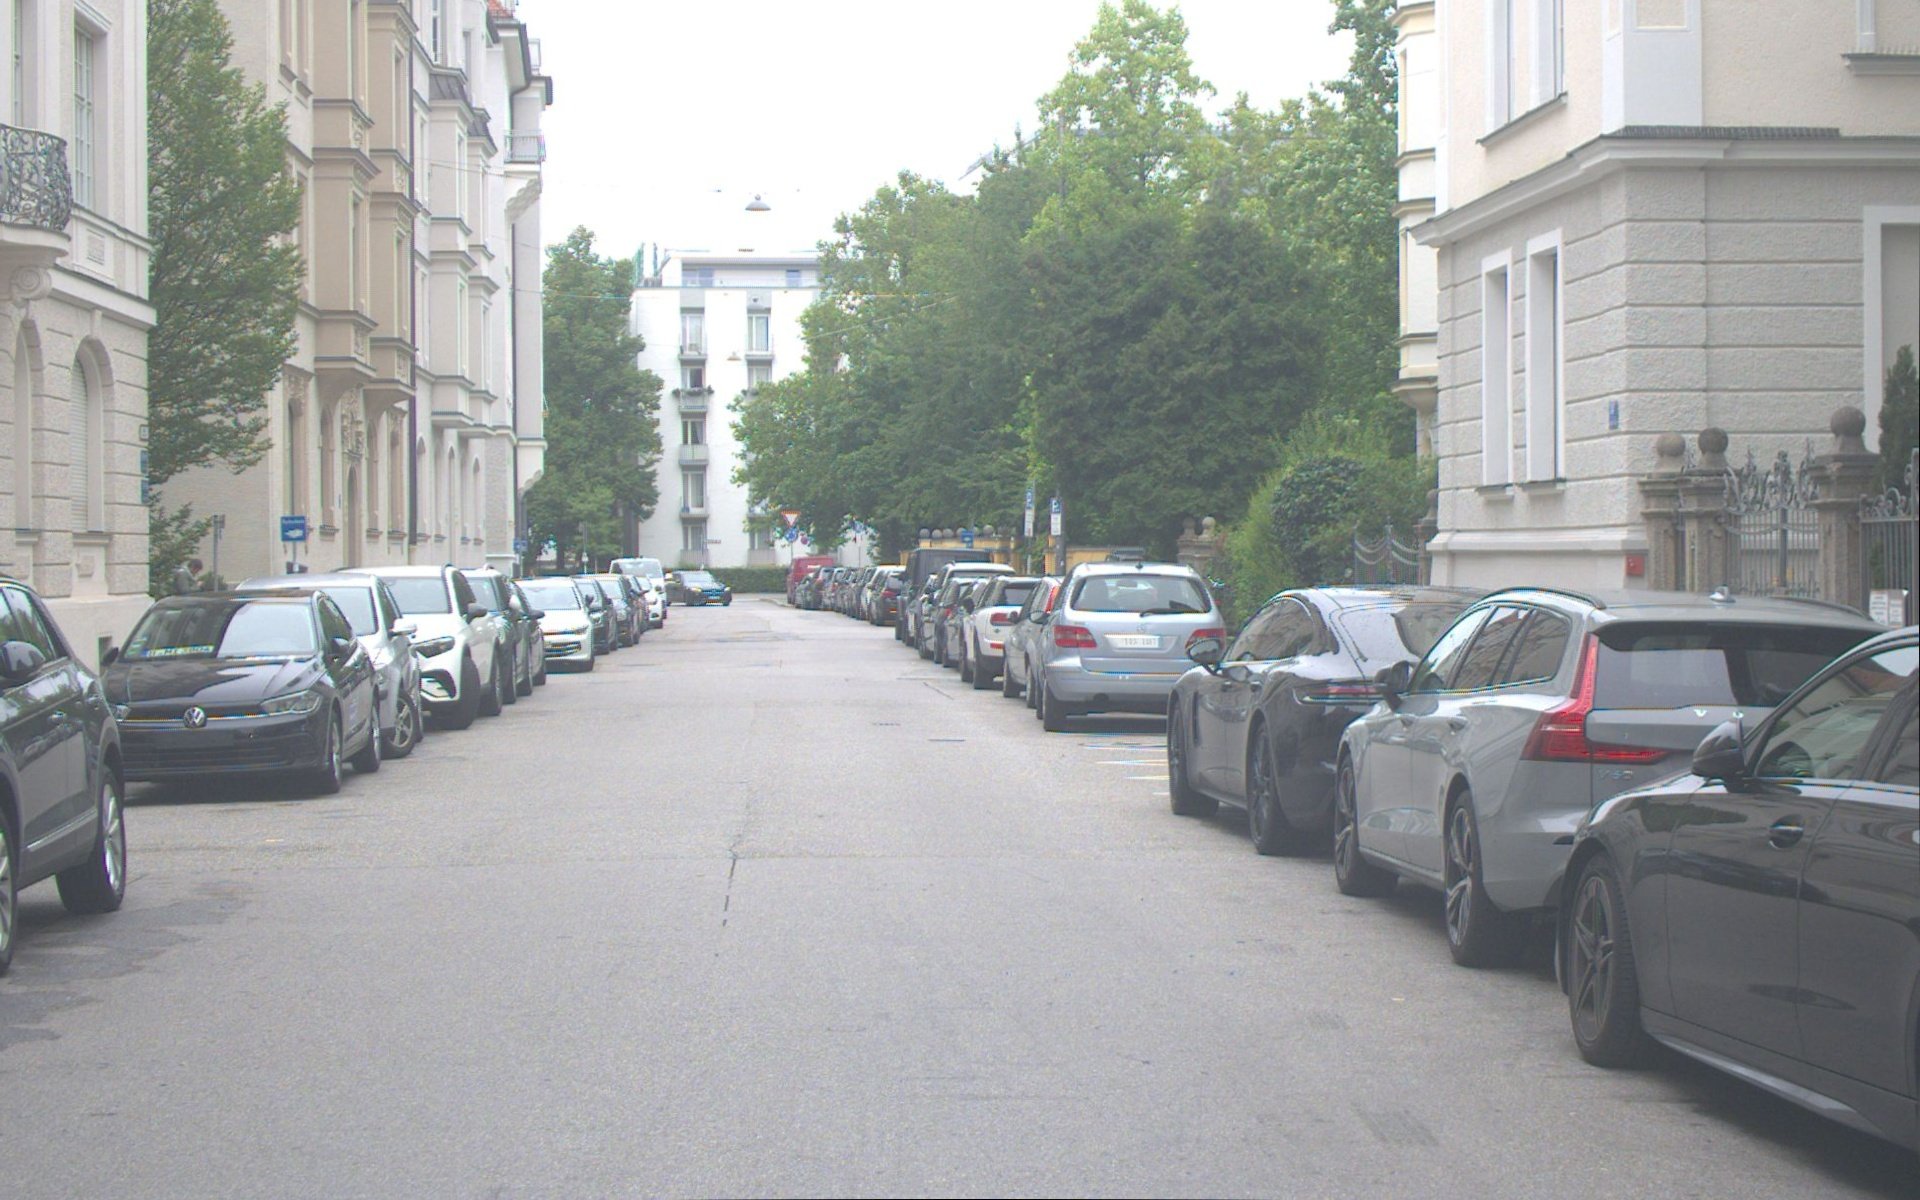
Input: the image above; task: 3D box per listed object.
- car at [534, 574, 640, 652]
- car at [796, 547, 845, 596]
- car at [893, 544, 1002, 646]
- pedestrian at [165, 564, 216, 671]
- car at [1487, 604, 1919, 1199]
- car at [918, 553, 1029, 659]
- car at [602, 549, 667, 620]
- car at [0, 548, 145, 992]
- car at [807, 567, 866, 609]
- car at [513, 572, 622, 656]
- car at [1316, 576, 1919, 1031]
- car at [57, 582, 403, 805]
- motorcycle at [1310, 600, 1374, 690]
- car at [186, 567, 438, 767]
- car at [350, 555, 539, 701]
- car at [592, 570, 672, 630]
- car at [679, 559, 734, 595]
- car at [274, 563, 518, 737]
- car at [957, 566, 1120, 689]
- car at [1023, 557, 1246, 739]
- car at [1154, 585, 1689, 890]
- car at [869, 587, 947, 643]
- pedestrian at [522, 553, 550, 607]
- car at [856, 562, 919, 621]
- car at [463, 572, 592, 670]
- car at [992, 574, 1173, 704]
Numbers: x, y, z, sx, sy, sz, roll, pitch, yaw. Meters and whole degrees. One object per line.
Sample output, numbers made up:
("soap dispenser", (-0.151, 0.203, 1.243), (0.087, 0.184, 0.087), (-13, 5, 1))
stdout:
("car", (-7.644, 0.245, 70.710), (1.836, 1.431, 4.245), (-3, 1, -2))
("car", (-5.663, -1.174, 139.957), (1.836, 1.920, 4.005), (2, 1, -1))
("car", (-0.305, -0.129, 71.197), (1.950, 1.947, 4.666), (1, 1, -4))
("pedestrian", (-11.728, 0.266, 52.438), (0.673, 1.620, 0.631), (0, 1, -6))
("car", (2.946, 0.784, 8.954), (1.836, 1.394, 4.975), (1, 1, -6))
("car", (0.211, 0.101, 61.776), (1.722, 1.763, 4.413), (2, 0, -2))
("car", (-10.389, -0.529, 109.905), (1.886, 2.120, 4.707), (-3, 1, -5))
("car", (-4.480, 0.638, 13.711), (1.726, 1.613, 4.122), (-2, 1, -5))
("car", (-4.612, -0.442, 127.969), (1.838, 1.513, 3.948), (1, 0, -7))
("car", (-7.418, 0.241, 65.284), (1.833, 1.429, 4.554), (-2, 1, -4))
("car", (2.696, 0.701, 14.181), (1.760, 1.480, 4.421), (2, 1, -2))
("car", (-5.266, 0.618, 25.308), (1.792, 1.410, 4.279), (-3, 1, -3))
("motorcycle", (4.883, 0.558, 44.012), (0.607, 1.108, 1.964), (0, 0, 0))
("car", (-5.570, 0.524, 29.994), (1.782, 1.536, 4.258), (-2, 1, -6))
("car", (-6.026, 0.284, 40.572), (1.836, 1.613, 4.245), (0, 1, -3))
("car", (-8.701, -0.016, 91.463), (1.836, 1.433, 4.275), (-3, 1, -2))
("car", (-10.380, -0.950, 140.528), (1.874, 1.423, 4.410), (0, 1, -9))
("car", (-5.669, 0.451, 35.044), (1.915, 1.613, 4.572), (0, 1, -2))
("car", (0.970, 0.317, 44.410), (1.784, 1.499, 4.065), (1, 1, -3))
("car", (1.635, 0.413, 33.575), (1.822, 1.564, 4.401), (2, 1, -1))
("car", (2.422, 0.666, 19.351), (1.993, 1.452, 4.713), (-1, 1, -5))
("car", (-1.369, 0.375, 89.457), (1.838, 1.408, 4.343), (1, 0, -3))
("pedestrian", (-13.121, -0.619, 106.451), (0.792, 1.673, 0.700), (0, 1, -11))
("car", (-2.104, -0.242, 99.348), (1.513, 1.656, 3.675), (1, 0, -5))
("car", (-6.969, 0.309, 55.741), (1.836, 1.429, 4.245), (-2, 1, -5))
("car", (1.353, 0.414, 39.314), (1.754, 1.401, 3.452), (1, 1, -3))
